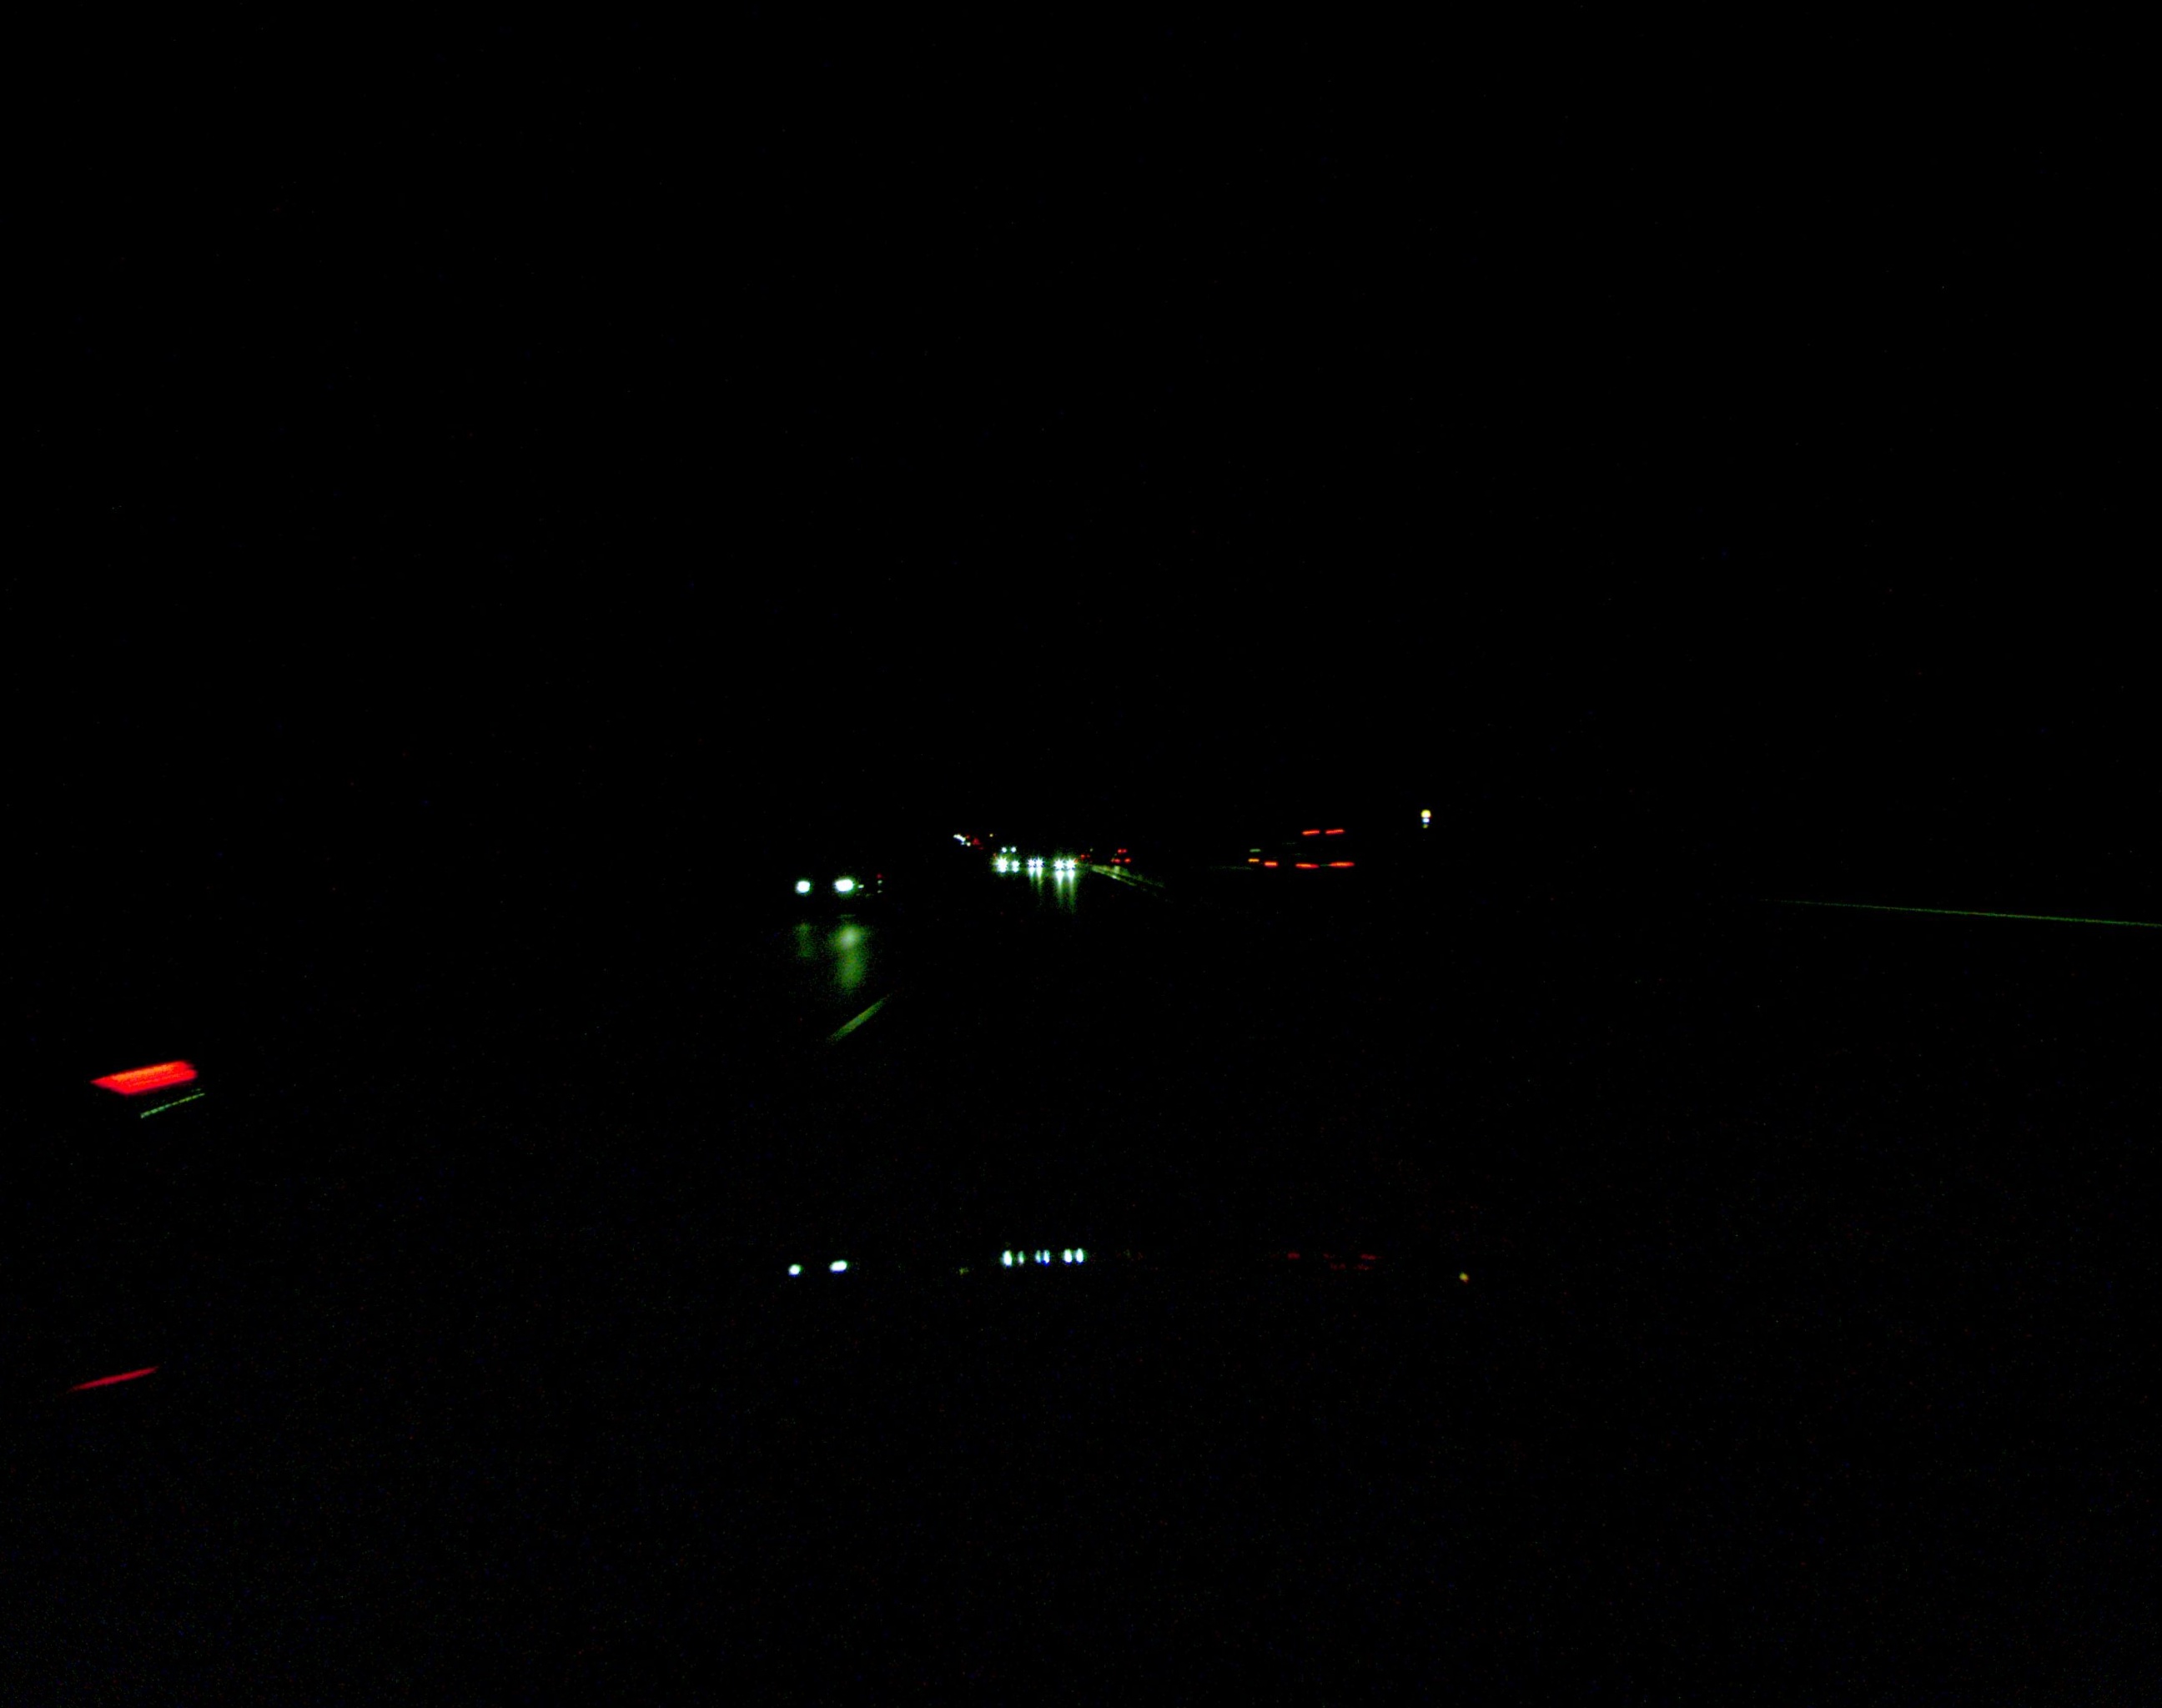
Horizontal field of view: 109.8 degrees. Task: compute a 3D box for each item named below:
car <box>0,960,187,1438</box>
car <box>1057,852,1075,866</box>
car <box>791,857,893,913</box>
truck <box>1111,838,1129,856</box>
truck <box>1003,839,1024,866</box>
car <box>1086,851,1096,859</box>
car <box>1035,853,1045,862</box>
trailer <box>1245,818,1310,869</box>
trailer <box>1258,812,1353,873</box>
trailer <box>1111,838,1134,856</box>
[{"bbox_3d":[-4.156,1.111,0.240,1.840,1.393,5.068,-2,0,-2],"label":"car"},{"bbox_3d":[-1.807,0.612,92.224,2.012,1.652,4.000,-1,0,0],"label":"car"},{"bbox_3d":[-8.244,1.006,26.776,1.999,1.707,5.167,-2,0,-1],"label":"car"},{"bbox_3d":[9.353,-1.623,182.002,3.446,3.983,6.772,-2,1,-3],"label":"truck"},{"bbox_3d":[-11.884,-0.257,133.968,3.347,4.407,6.990,-2,1,-4],"label":"truck"},{"bbox_3d":[2.804,0.389,215.604,2.058,2.185,6.964,-2,0,-4],"label":"car"},{"bbox_3d":[-7.987,0.639,146.764,1.940,1.608,3.998,-1,0,-4],"label":"car"},{"bbox_3d":[15.362,-0.799,60.001,3.065,3.667,7.228,-2,0,0],"label":"trailer"},{"bbox_3d":[15.409,-0.758,53.468,3.065,3.667,11.685,-2,0,0],"label":"trailer"},{"bbox_3d":[9.583,-1.606,178.012,3.446,3.983,14.754,-2,0,-3],"label":"trailer"}]
